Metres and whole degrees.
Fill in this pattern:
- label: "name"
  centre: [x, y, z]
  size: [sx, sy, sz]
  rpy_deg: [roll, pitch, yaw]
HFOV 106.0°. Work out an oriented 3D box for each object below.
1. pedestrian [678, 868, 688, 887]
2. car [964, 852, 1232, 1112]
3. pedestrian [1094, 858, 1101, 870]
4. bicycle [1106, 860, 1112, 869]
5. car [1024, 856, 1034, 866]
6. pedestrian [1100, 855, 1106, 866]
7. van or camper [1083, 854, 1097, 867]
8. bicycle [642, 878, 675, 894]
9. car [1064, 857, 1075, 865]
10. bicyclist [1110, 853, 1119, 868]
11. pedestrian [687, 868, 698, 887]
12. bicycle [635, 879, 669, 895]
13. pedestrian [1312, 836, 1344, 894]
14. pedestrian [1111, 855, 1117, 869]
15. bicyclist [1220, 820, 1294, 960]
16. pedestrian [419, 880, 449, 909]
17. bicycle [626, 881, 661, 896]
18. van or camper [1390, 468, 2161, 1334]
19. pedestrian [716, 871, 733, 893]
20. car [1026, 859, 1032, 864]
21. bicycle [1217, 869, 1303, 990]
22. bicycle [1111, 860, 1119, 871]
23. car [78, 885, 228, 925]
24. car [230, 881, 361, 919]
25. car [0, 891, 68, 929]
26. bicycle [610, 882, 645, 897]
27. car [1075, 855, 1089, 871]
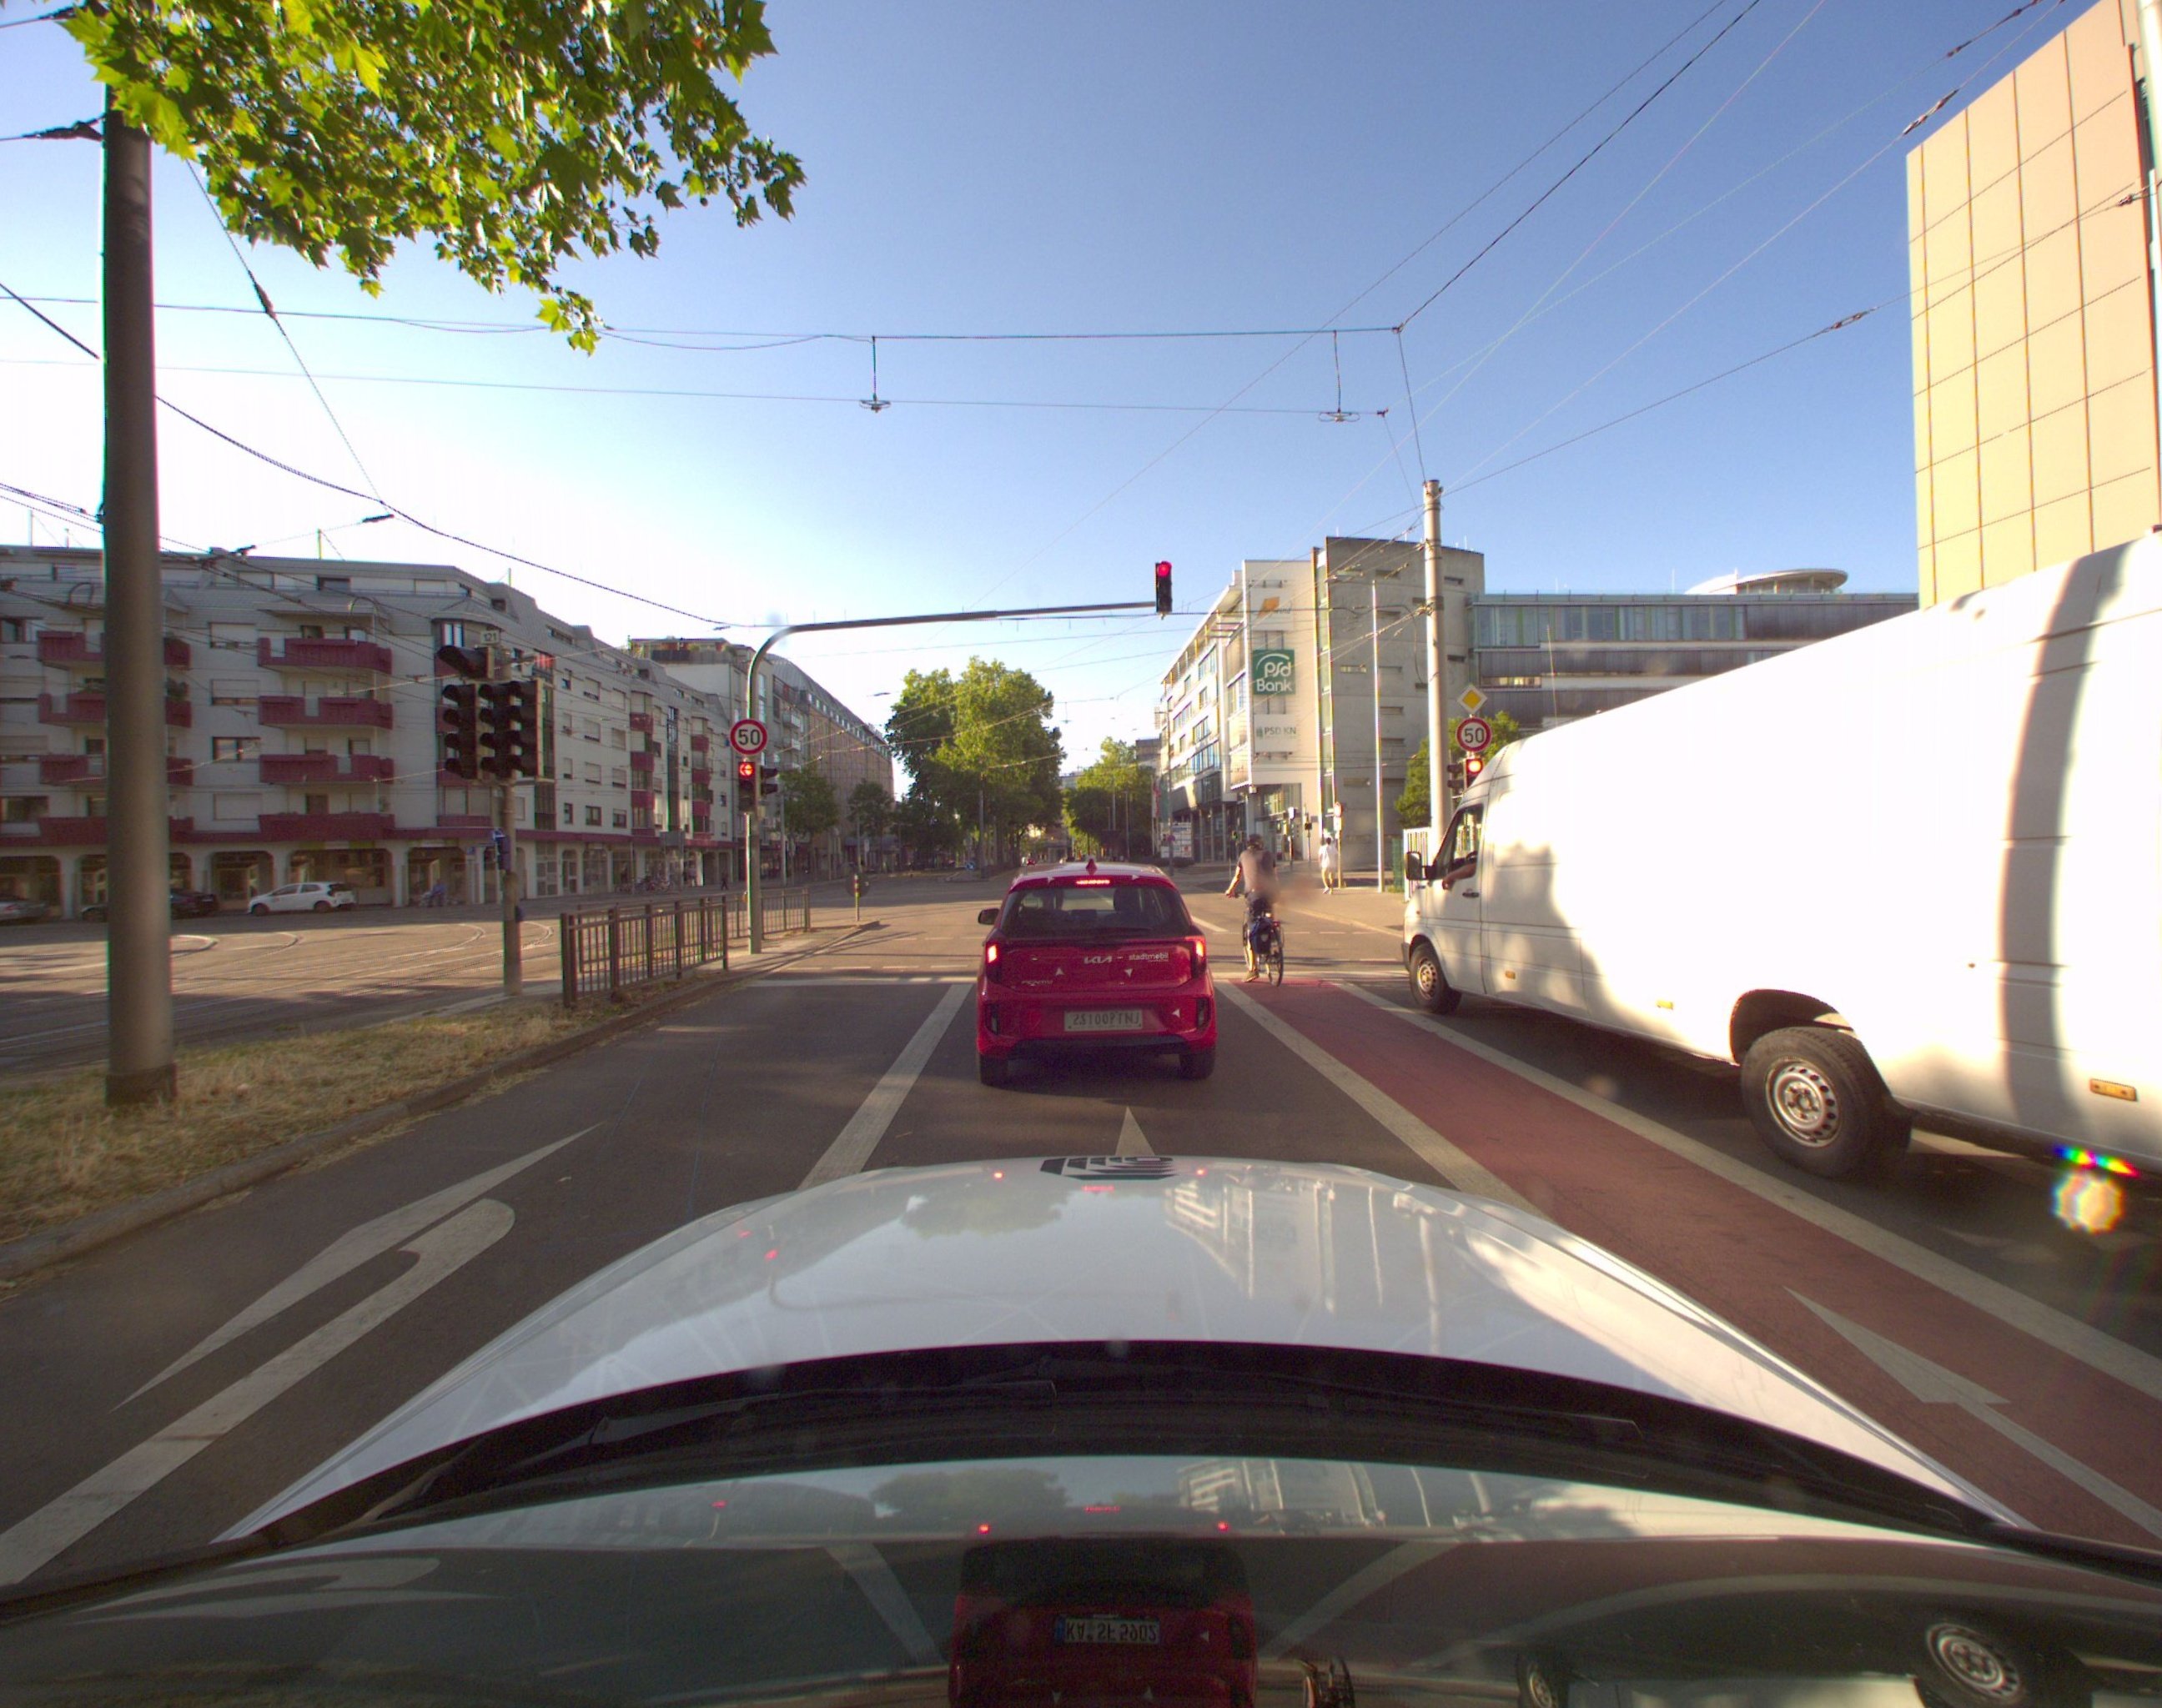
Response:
- label: "pedestrian"
  centre: [-31.732, 1.893, 64.915]
  size: [0.533, 1.494, 0.586]
  rpy_deg: [-2, 0, -6]
- label: "car"
  centre: [0.033, 0.776, 6.654]
  size: [1.609, 1.535, 3.408]
  rpy_deg: [-1, 0, -3]
- label: "pedestrian"
  centre: [2.361, 1.416, 113.414]
  size: [0.636, 1.579, 0.727]
  rpy_deg: [-5, 0, 20]
- label: "bicycle"
  centre: [3.297, 1.277, 96.611]
  size: [0.518, 0.975, 2.204]
  rpy_deg: [-5, 0, 4]
- label: "car"
  centre: [-11.240, 1.566, 175.959]
  size: [1.991, 2.013, 3.992]
  rpy_deg: [-2, 0, -6]
- label: "pedestrian"
  centre: [3.480, 1.042, 130.467]
  size: [0.888, 1.753, 0.841]
  rpy_deg: [-2, 0, 1]
- label: "van or camper"
  centre: [1.463, 1.022, 132.477]
  size: [1.988, 1.989, 4.741]
  rpy_deg: [-1, 0, -2]
- label: "bicycle"
  centre: [-27.707, 2.082, 53.441]
  size: [1.840, 0.985, 0.552]
  rpy_deg: [-2, 0, -6]
- label: "car"
  centre: [-2.431, 1.515, 170.536]
  size: [1.776, 1.535, 3.503]
  rpy_deg: [-1, 0, -8]
- label: "bicyclist"
  centre: [3.597, 0.673, 87.288]
  size: [0.720, 1.603, 1.087]
  rpy_deg: [-4, 0, -3]
- label: "pedestrian"
  centre: [-31.027, 1.889, 65.022]
  size: [0.533, 1.494, 0.586]
  rpy_deg: [-2, 0, -6]
- label: "bicycle"
  centre: [-27.793, 2.138, 52.827]
  size: [1.840, 0.985, 0.552]
  rpy_deg: [-2, 0, -6]
- label: "pedestrian"
  centre: [7.972, 0.344, 26.285]
  size: [0.773, 1.823, 1.219]
  rpy_deg: [-2, 0, 9]
- label: "pedestrian"
  centre: [3.884, 0.951, 96.615]
  size: [0.644, 1.680, 0.652]
  rpy_deg: [-2, 0, 2]
- label: "bicyclist"
  centre: [2.133, 0.418, 9.967]
  size: [0.647, 1.603, 1.089]
  rpy_deg: [-2, 0, 2]
- label: "pedestrian"
  centre: [-32.482, 2.042, 40.896]
  size: [0.857, 1.384, 0.833]
  rpy_deg: [-2, 0, -14]
- label: "bicycle"
  centre: [-27.700, 2.169, 51.557]
  size: [1.837, 0.854, 0.553]
  rpy_deg: [-2, 0, -1]
- label: "van or camper"
  centre: [4.317, 0.146, 5.461]
  size: [1.963, 2.716, 6.301]
  rpy_deg: [-1, 0, -1]
- label: "pedestrian"
  centre: [-26.065, 2.053, 59.579]
  size: [1.035, 1.544, 0.699]
  rpy_deg: [-2, 0, 36]
- label: "car"
  centre: [-16.301, 2.289, 256.527]
  size: [1.776, 1.535, 3.403]
  rpy_deg: [-1, 0, -8]
- label: "bicycle"
  centre: [2.142, 0.851, 9.989]
  size: [0.647, 1.281, 1.967]
  rpy_deg: [-2, 0, 2]
- label: "bicycle"
  centre: [3.642, 1.202, 87.276]
  size: [0.694, 1.098, 1.749]
  rpy_deg: [-5, 0, -2]
- label: "car"
  centre: [-42.424, 2.306, 37.353]
  size: [4.112, 1.555, 1.992]
  rpy_deg: [-2, 0, -12]
- label: "car"
  centre: [-37.168, 2.161, 38.655]
  size: [3.989, 1.555, 1.992]
  rpy_deg: [-2, 0, -12]
- label: "car"
  centre: [-48.599, 2.528, 35.954]
  size: [4.572, 1.555, 1.992]
  rpy_deg: [-2, 0, -12]
- label: "bicycle"
  centre: [-28.261, 2.198, 50.796]
  size: [1.837, 0.854, 0.553]
  rpy_deg: [-2, 0, -1]
- label: "car"
  centre: [0.123, 1.112, 101.409]
  size: [1.631, 1.800, 3.328]
  rpy_deg: [-2, 0, -1]
